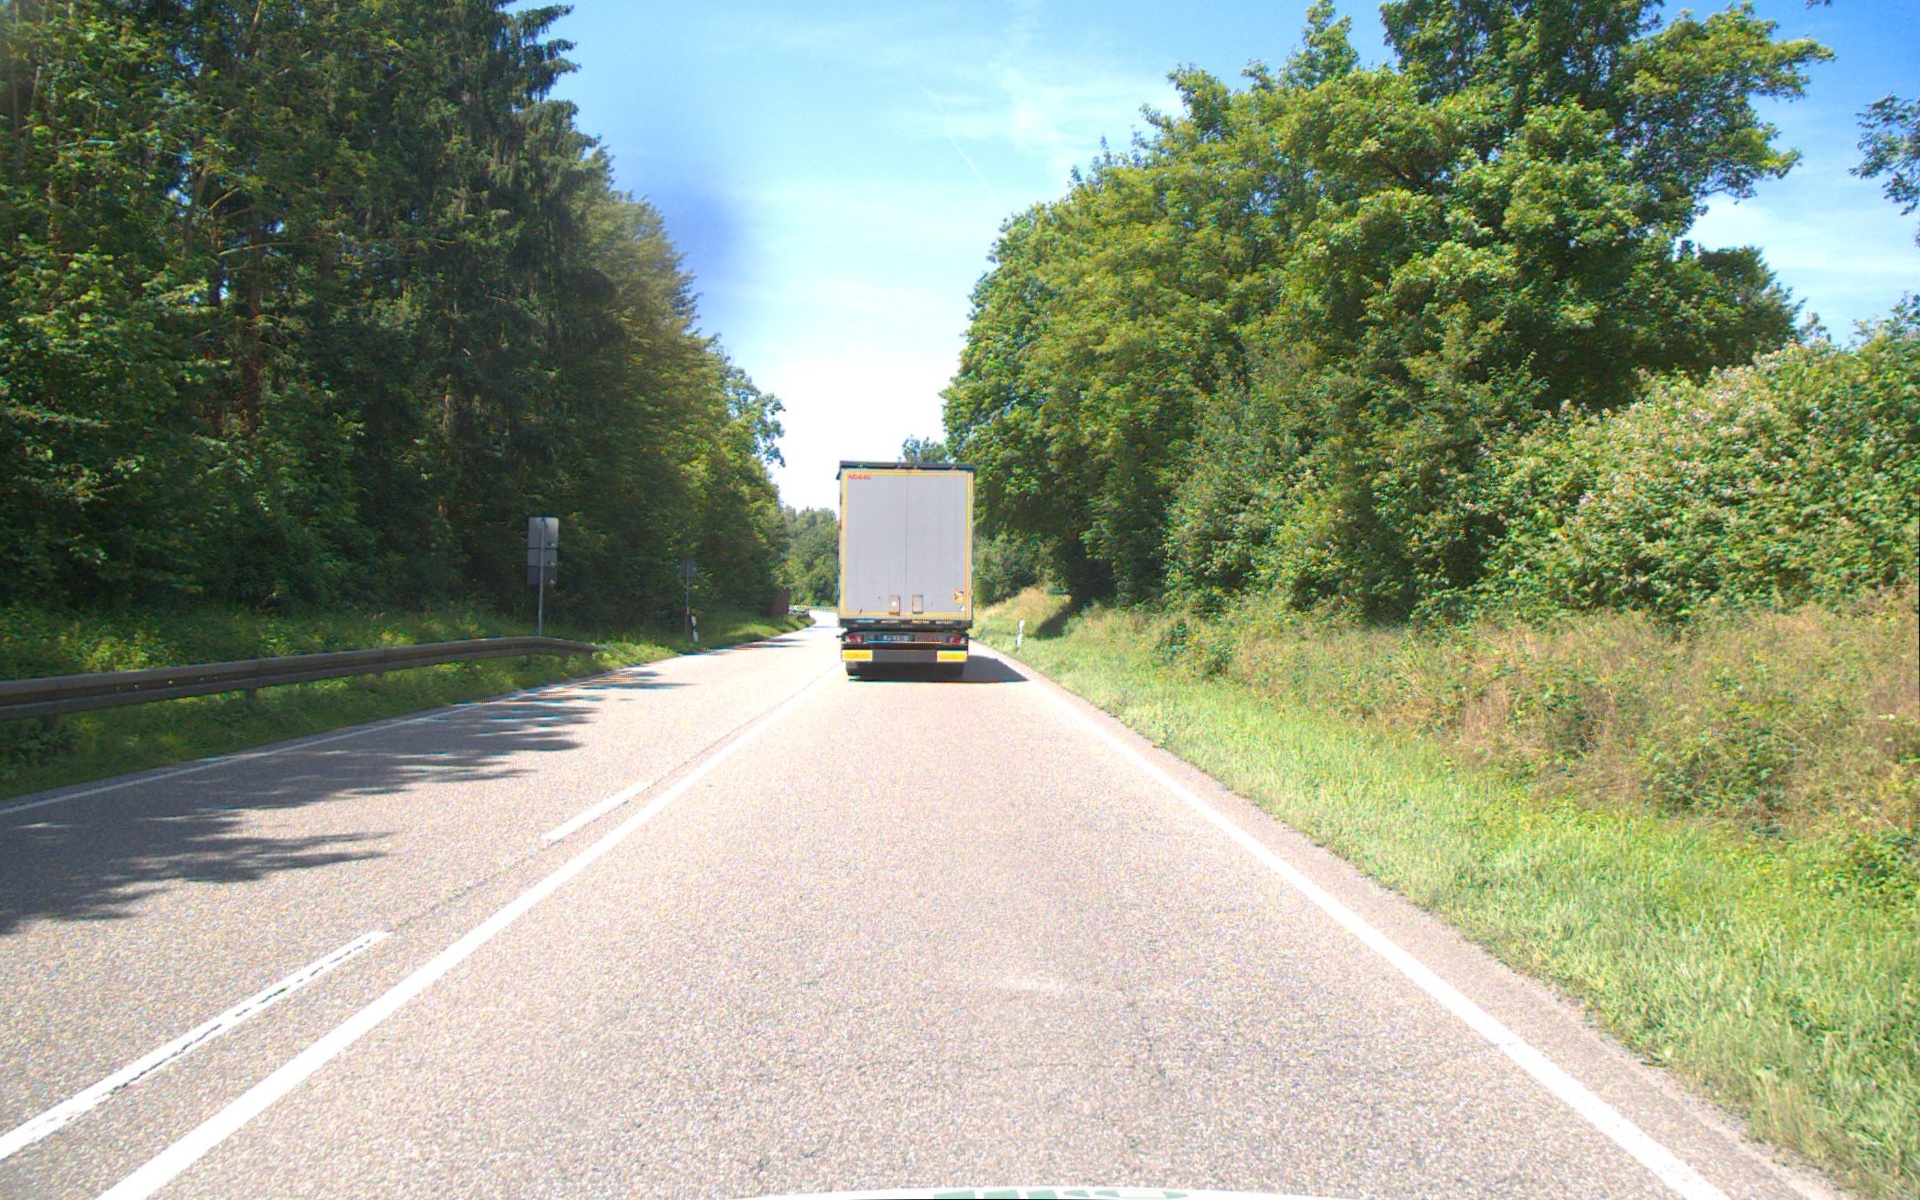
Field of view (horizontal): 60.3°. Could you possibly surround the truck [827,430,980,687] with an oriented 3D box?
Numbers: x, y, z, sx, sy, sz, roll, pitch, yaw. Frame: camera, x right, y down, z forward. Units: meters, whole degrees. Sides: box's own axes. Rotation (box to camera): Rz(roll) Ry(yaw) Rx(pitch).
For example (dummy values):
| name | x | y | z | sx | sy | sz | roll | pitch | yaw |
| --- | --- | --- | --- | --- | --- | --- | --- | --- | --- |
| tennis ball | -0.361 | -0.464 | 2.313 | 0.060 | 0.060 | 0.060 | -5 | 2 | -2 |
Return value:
| name | x | y | z | sx | sy | sz | roll | pitch | yaw |
| --- | --- | --- | --- | --- | --- | --- | --- | --- | --- |
| truck | -1.048 | -0.745 | 33.656 | 2.765 | 4.684 | 6.664 | 1 | 0 | 0 |
